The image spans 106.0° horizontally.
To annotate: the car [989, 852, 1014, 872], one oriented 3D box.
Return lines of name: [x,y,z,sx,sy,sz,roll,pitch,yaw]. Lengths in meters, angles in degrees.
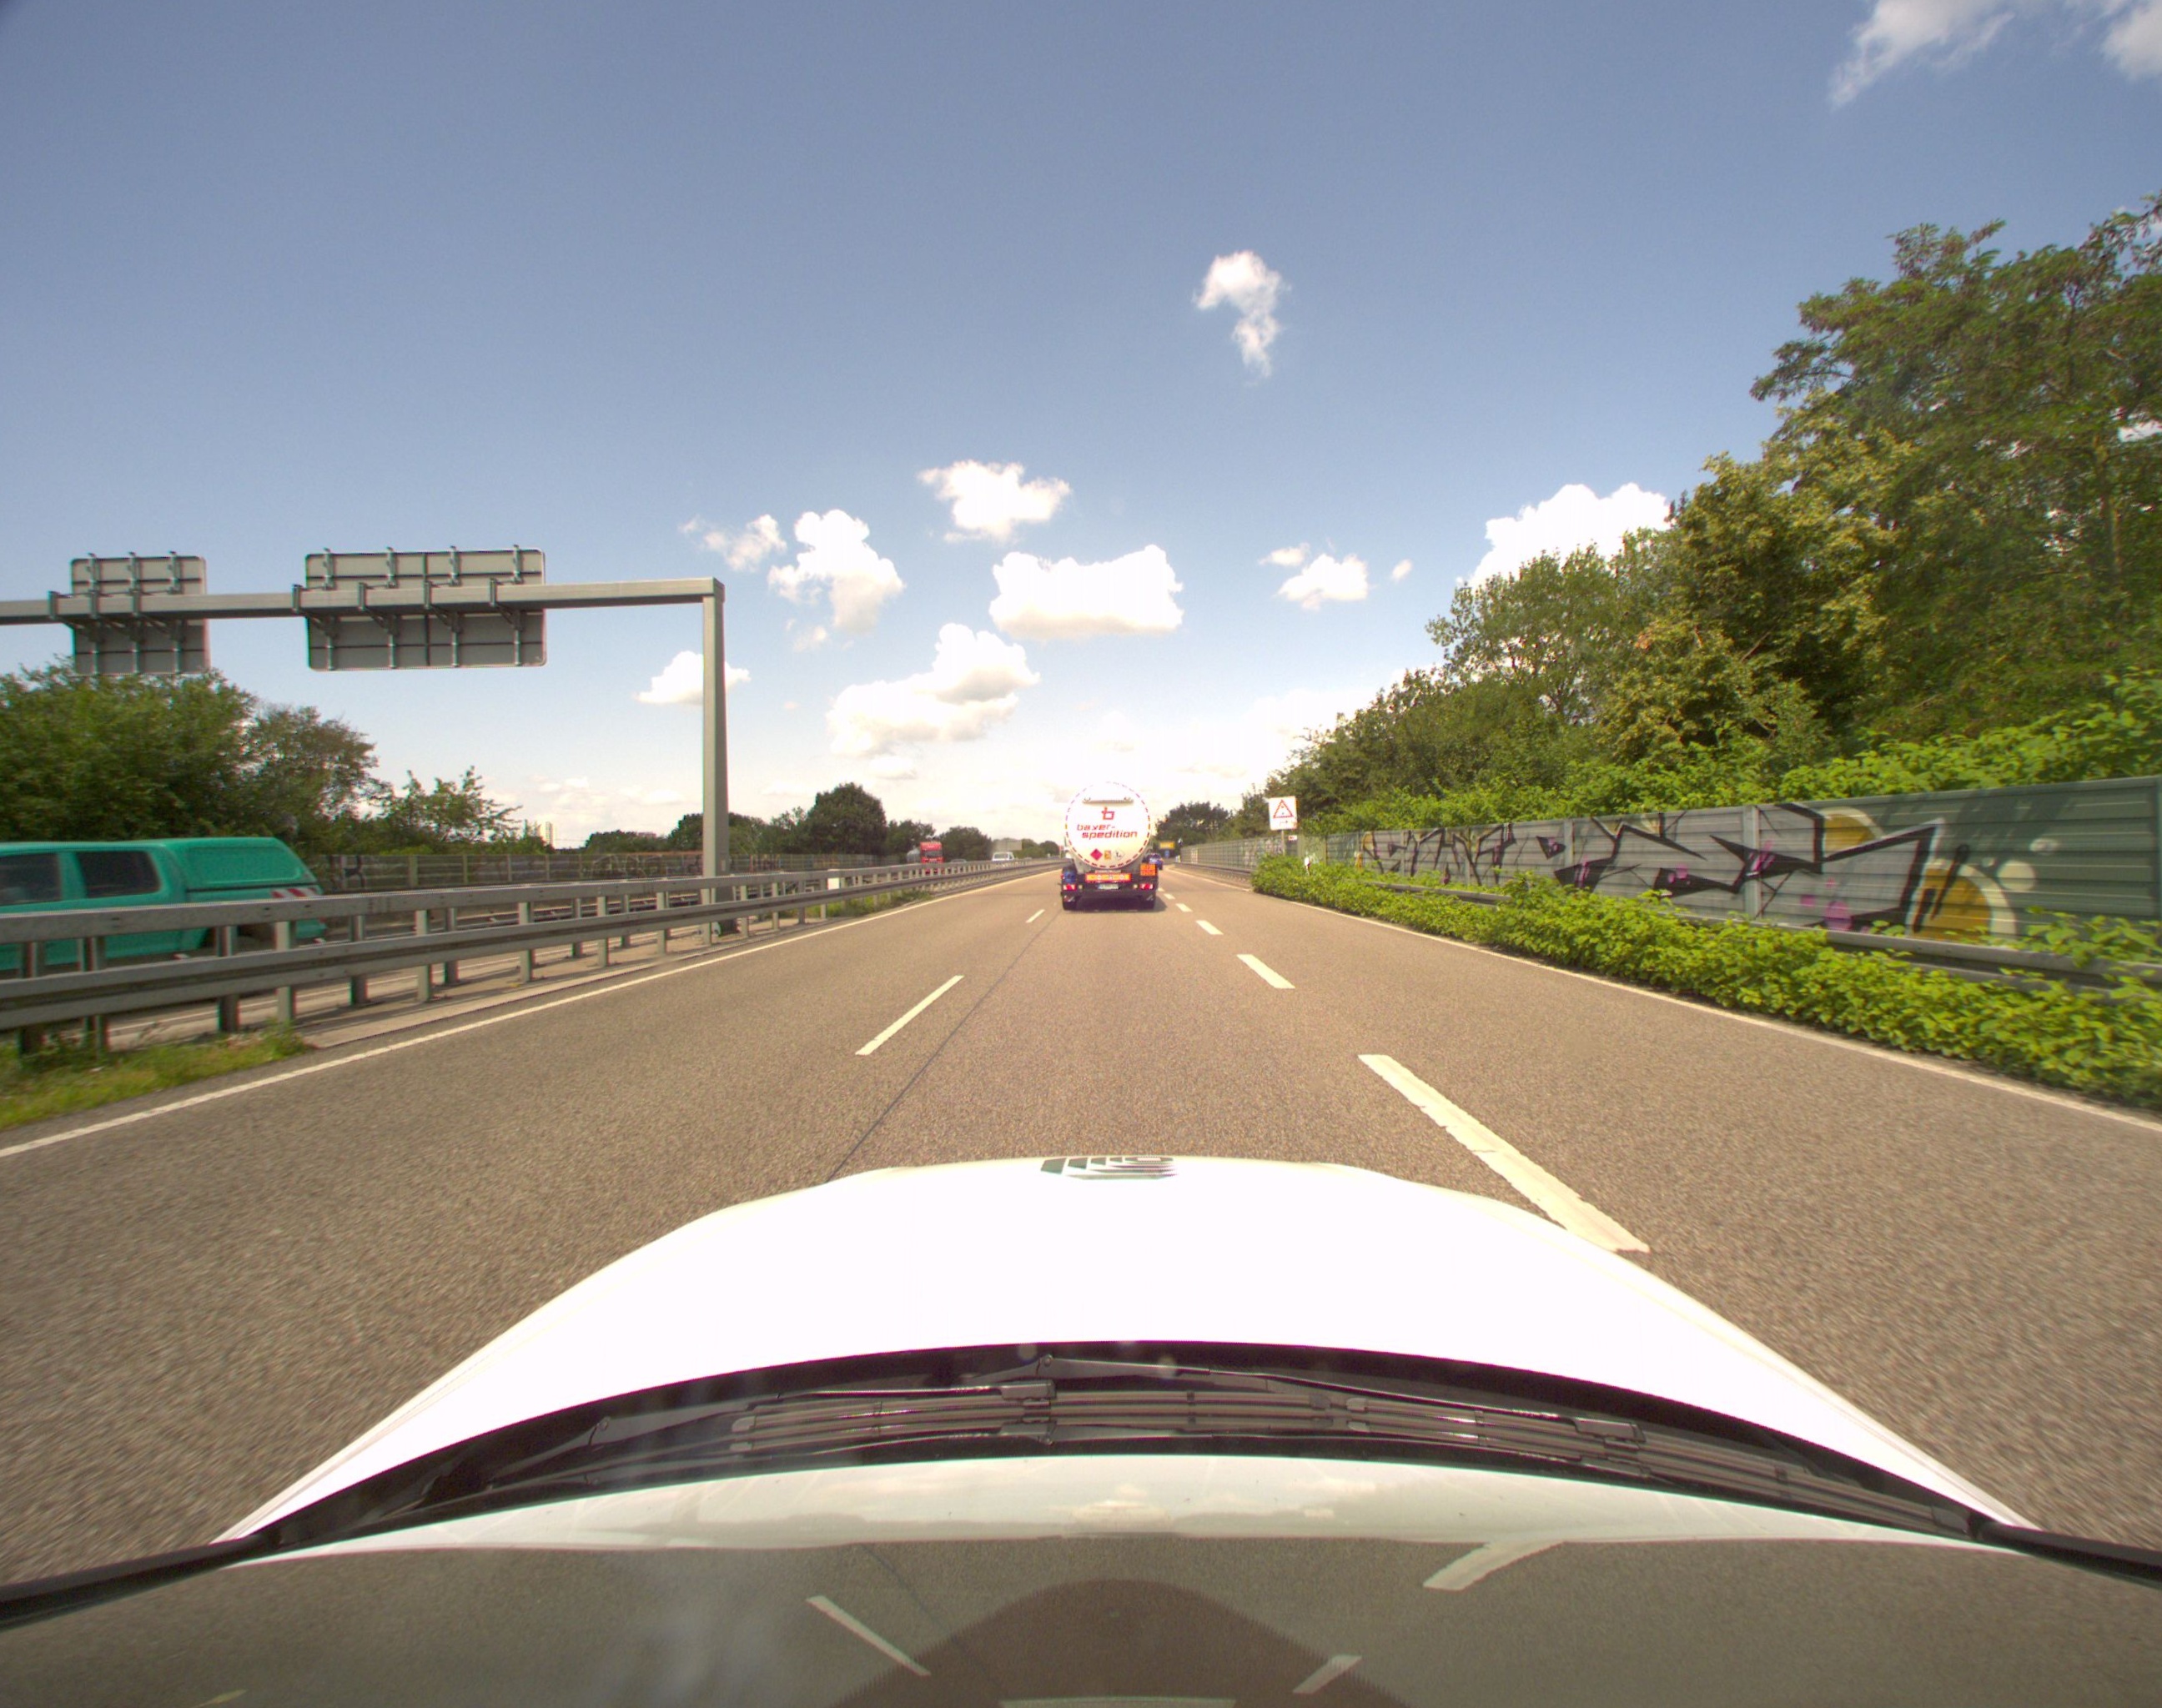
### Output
car: [-8.284,0.820,85.459,2.073,1.989,5.228,0,0,0]

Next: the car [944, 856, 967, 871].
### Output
car: [-12.733,0.934,82.634,1.683,1.431,4.401,0,0,0]

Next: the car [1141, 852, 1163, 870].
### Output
car: [6.894,0.712,79.737,1.986,1.706,4.002,0,-1,2]

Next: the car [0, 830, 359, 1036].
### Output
car: [-10.701,0.715,8.161,1.986,1.863,5.394,0,0,2]

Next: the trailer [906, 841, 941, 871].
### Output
trailer: [-19.969,0.285,102.632,2.694,3.670,10.953,0,-1,-20]

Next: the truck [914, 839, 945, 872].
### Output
truck: [-18.186,0.172,97.557,2.657,3.782,6.190,0,-1,-20]

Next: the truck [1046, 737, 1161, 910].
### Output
truck: [0.713,-0.743,24.560,2.884,4.369,8.033,0,-1,2]
